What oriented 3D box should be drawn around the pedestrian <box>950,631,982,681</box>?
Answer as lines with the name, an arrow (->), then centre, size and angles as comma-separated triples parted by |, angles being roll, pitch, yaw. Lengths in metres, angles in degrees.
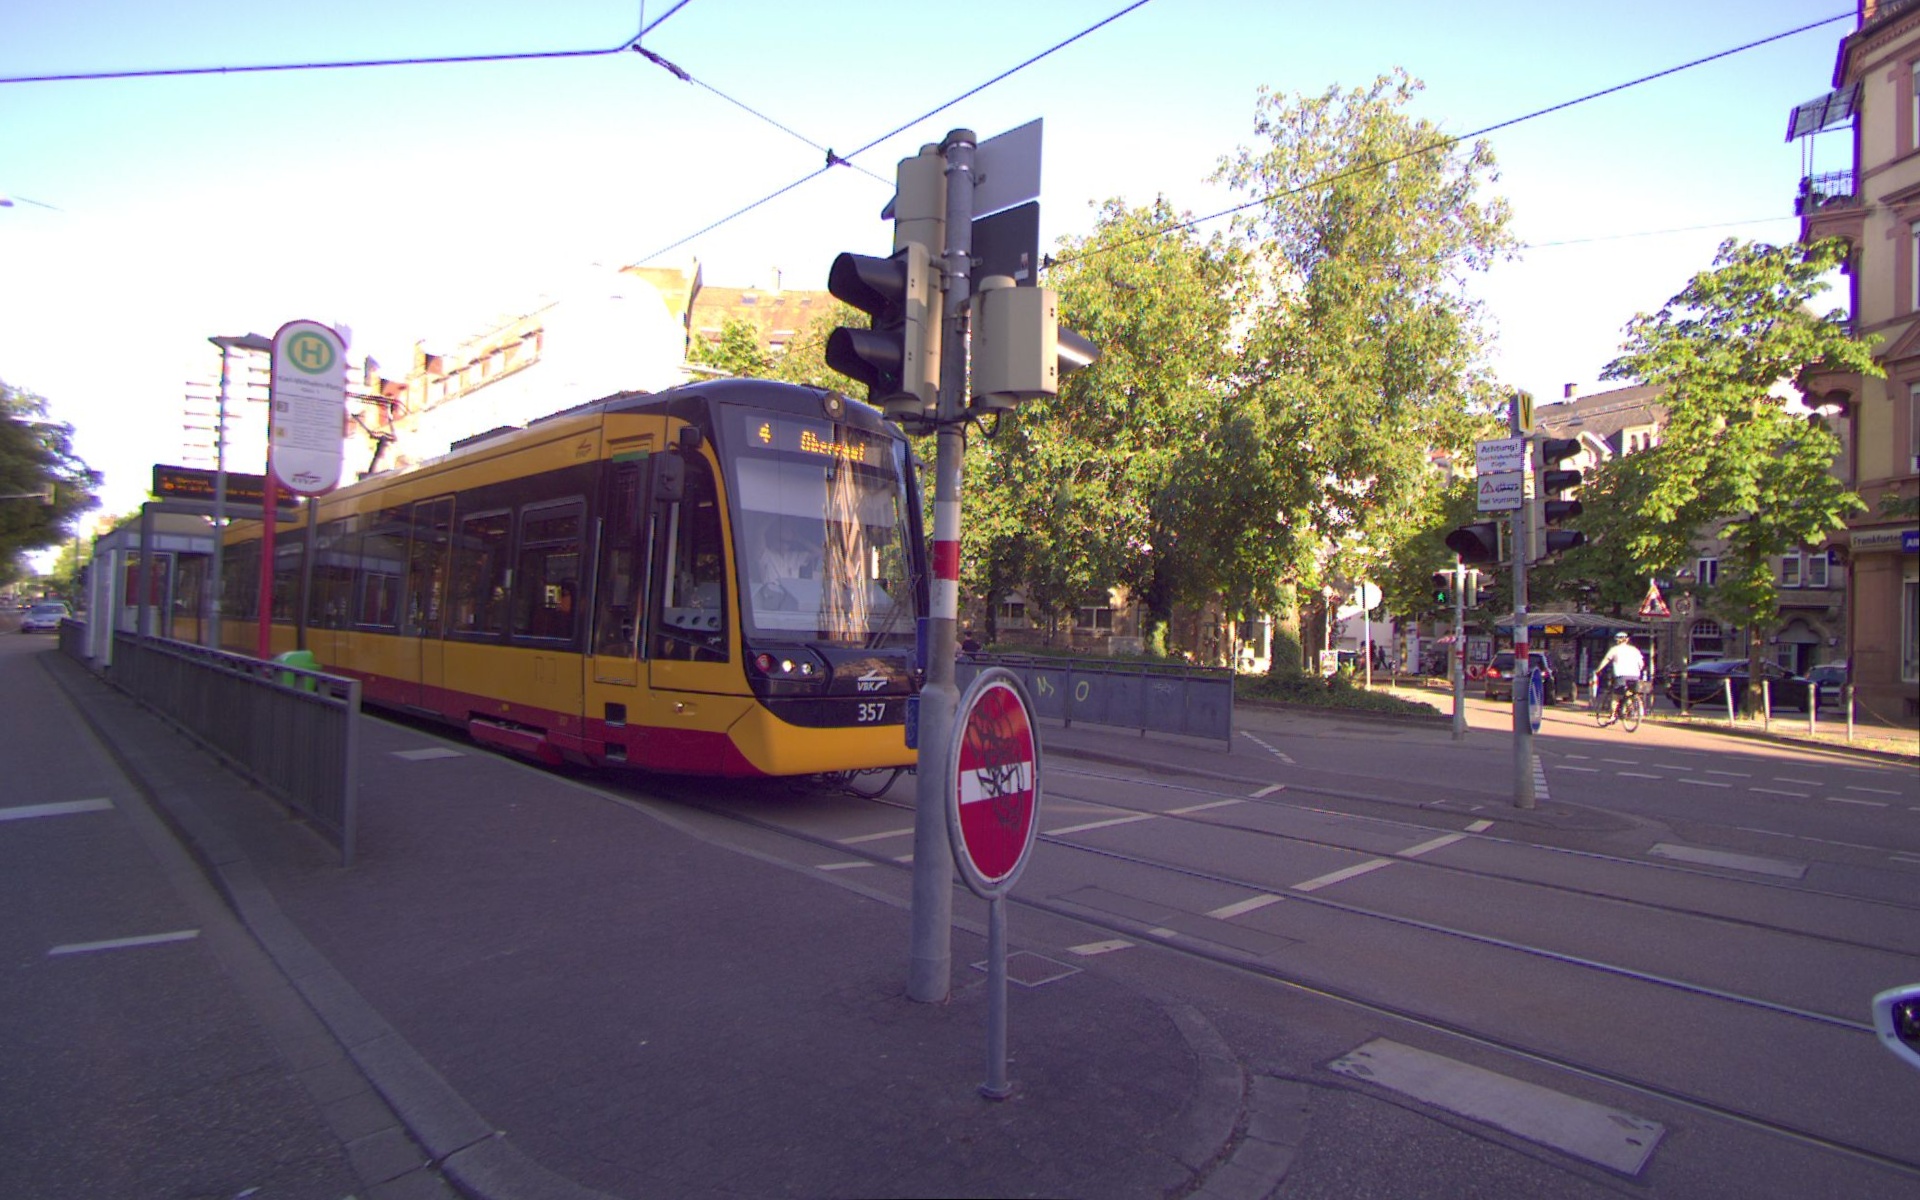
pedestrian -> 0.173, 1.626, 29.190 | 0.642, 1.407, 0.664 | 3, -2, -27

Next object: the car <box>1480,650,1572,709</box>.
car -> 16.898, 2.328, 29.907 | 1.768, 1.562, 3.844 | 1, -2, 39

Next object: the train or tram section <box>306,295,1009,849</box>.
train or tram section -> -4.668, -0.155, 11.812 | 2.782, 3.667, 11.645 | 3, -2, -44

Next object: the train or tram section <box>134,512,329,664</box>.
train or tram section -> -21.601, -0.253, 29.325 | 2.756, 3.604, 12.515 | 3, -2, -44

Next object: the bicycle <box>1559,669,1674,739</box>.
bicycle -> 13.029, 2.035, 20.032 | 0.796, 1.200, 2.227 | 2, -2, 0

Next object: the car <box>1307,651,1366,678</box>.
car -> 24.379, 4.181, 65.143 | 1.647, 1.519, 3.556 | 4, -2, -21

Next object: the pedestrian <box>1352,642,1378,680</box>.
pedestrian -> 19.731, 2.959, 48.933 | 0.706, 1.773, 0.879 | 2, -1, -23

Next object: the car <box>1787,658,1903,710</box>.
car -> 27.462, 2.607, 31.173 | 3.162, 1.477, 1.497 | 3, -1, -23

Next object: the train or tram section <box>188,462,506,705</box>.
train or tram section -> -12.983, -0.207, 20.407 | 2.768, 3.634, 12.257 | 3, -2, -44

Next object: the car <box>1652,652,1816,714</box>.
car -> 22.677, 2.427, 29.440 | 4.303, 1.632, 1.789 | 3, -2, -20

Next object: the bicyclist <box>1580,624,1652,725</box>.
bicyclist -> 13.044, 1.467, 19.982 | 0.781, 1.938, 0.945 | 2, -1, -1

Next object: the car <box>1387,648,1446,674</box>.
car -> 31.163, 4.136, 68.655 | 1.647, 1.519, 3.556 | 4, -2, -21

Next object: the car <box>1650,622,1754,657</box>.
car -> 38.460, 2.026, 52.155 | 1.851, 1.669, 3.981 | 2, -2, -21

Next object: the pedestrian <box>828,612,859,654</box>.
pedestrian -> -3.922, 1.109, 33.855 | 0.730, 1.360, 0.686 | 3, -2, -41

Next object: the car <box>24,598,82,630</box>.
car -> -44.807, 0.691, 49.701 | 1.721, 1.435, 3.958 | 3, -2, -37

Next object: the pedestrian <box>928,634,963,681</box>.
pedestrian -> -0.426, 1.731, 30.078 | 0.809, 1.360, 0.664 | 3, -2, -27
